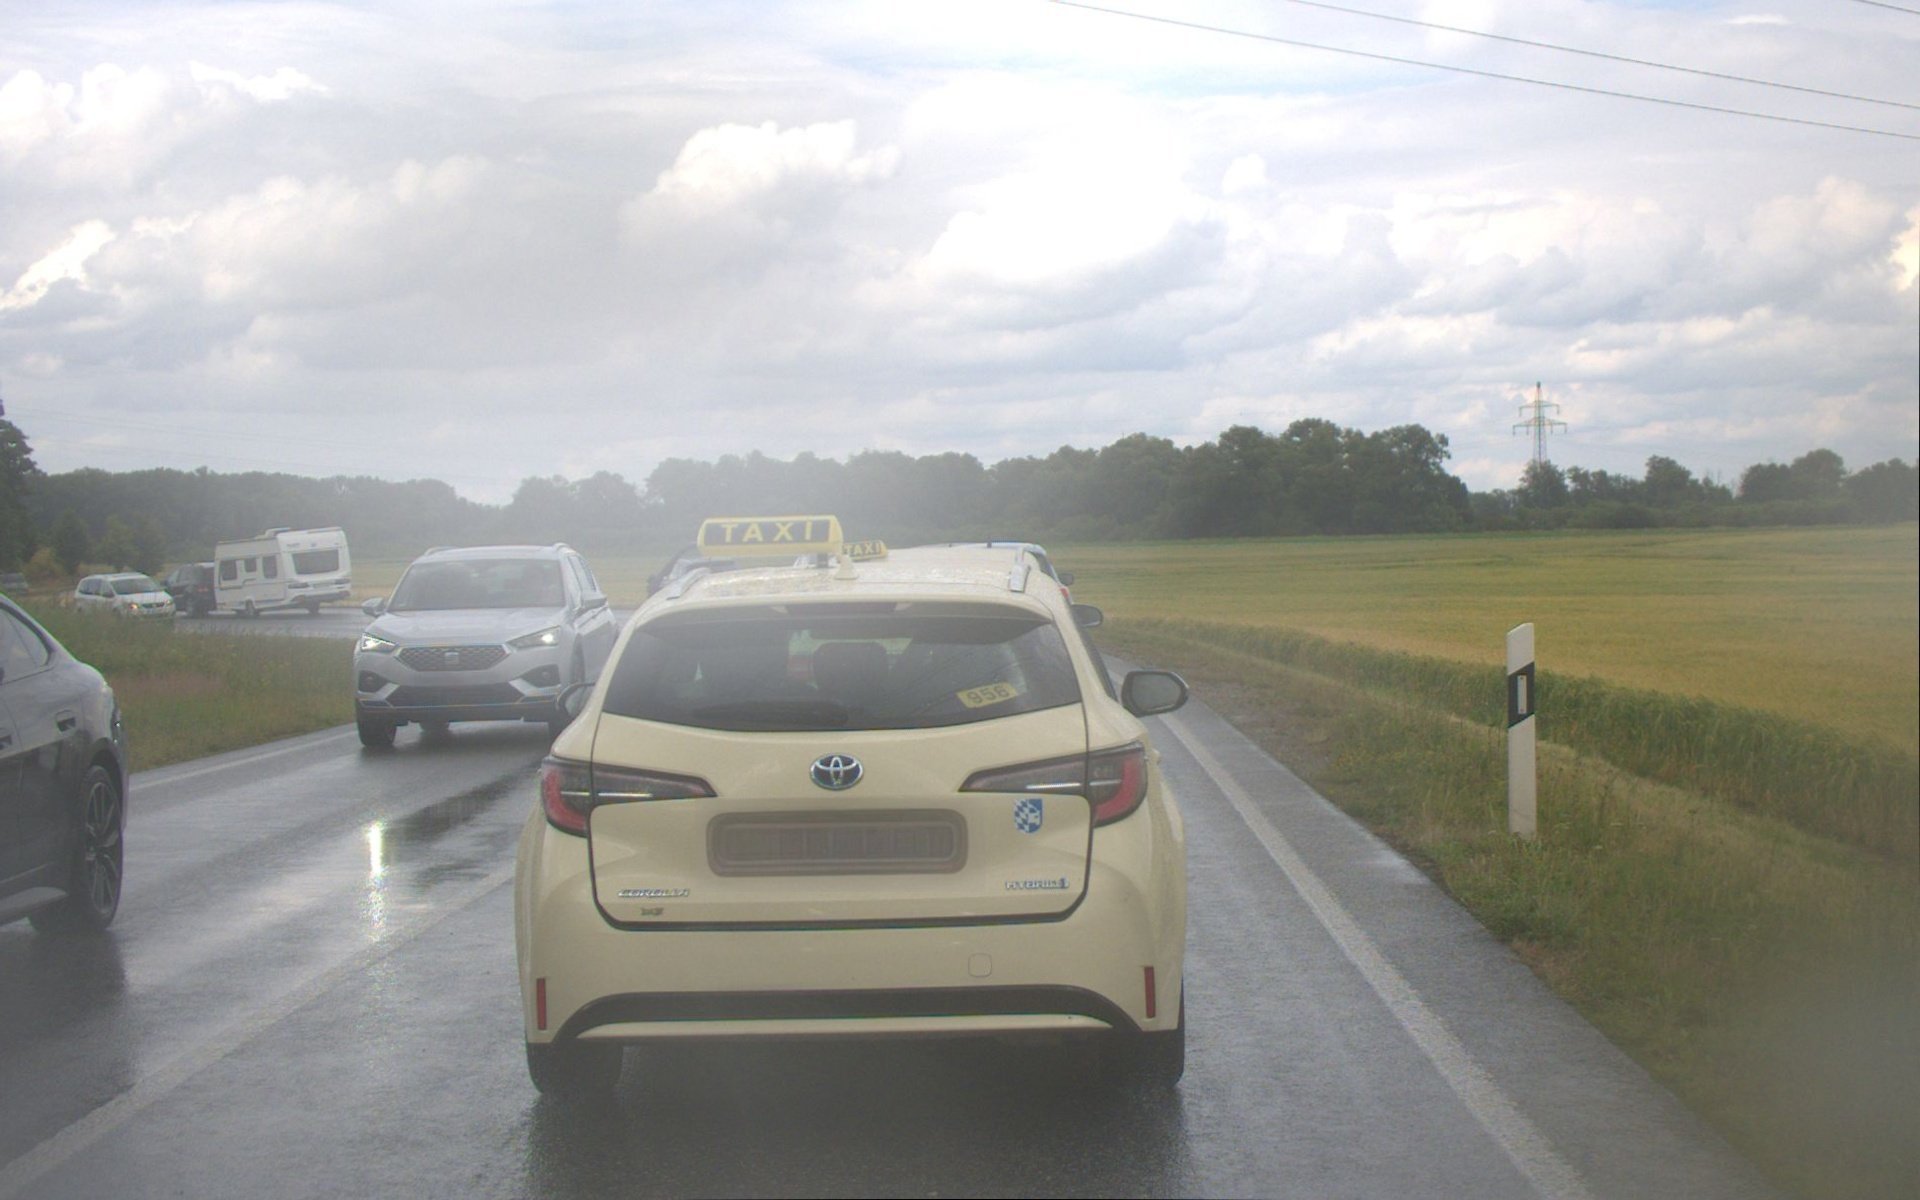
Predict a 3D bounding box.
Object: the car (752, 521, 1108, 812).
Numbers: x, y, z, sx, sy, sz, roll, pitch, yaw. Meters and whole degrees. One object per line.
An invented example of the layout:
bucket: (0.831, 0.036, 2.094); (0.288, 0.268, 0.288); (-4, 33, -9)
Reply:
car: (-0.201, 0.326, 20.437); (1.841, 1.487, 4.608); (2, 1, -1)

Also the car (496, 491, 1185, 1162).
car: (-0.168, 0.558, 10.096); (1.613, 1.557, 3.738); (2, -1, 4)

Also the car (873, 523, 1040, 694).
car: (-0.060, 0.102, 35.984); (1.613, 1.653, 3.738); (2, -1, -1)

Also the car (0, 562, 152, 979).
car: (-4.258, 0.601, 12.018); (1.849, 1.443, 4.091); (-1, 1, 1)

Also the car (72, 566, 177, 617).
car: (-26.431, -0.291, 108.684); (1.768, 1.536, 4.226); (2, -1, -35)

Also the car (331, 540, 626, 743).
car: (-4.063, 0.310, 29.621); (1.909, 1.604, 4.091); (-1, 1, 1)

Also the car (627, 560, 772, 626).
car: (-5.955, -0.152, 78.182); (1.959, 1.408, 4.393); (2, -1, -23)

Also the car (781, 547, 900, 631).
car: (-2.170, -0.177, 61.534); (1.612, 1.408, 3.739); (2, -1, -10)

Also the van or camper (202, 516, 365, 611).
van or camper: (-21.435, -1.183, 108.713); (2.537, 2.886, 6.742); (1, 1, -34)
